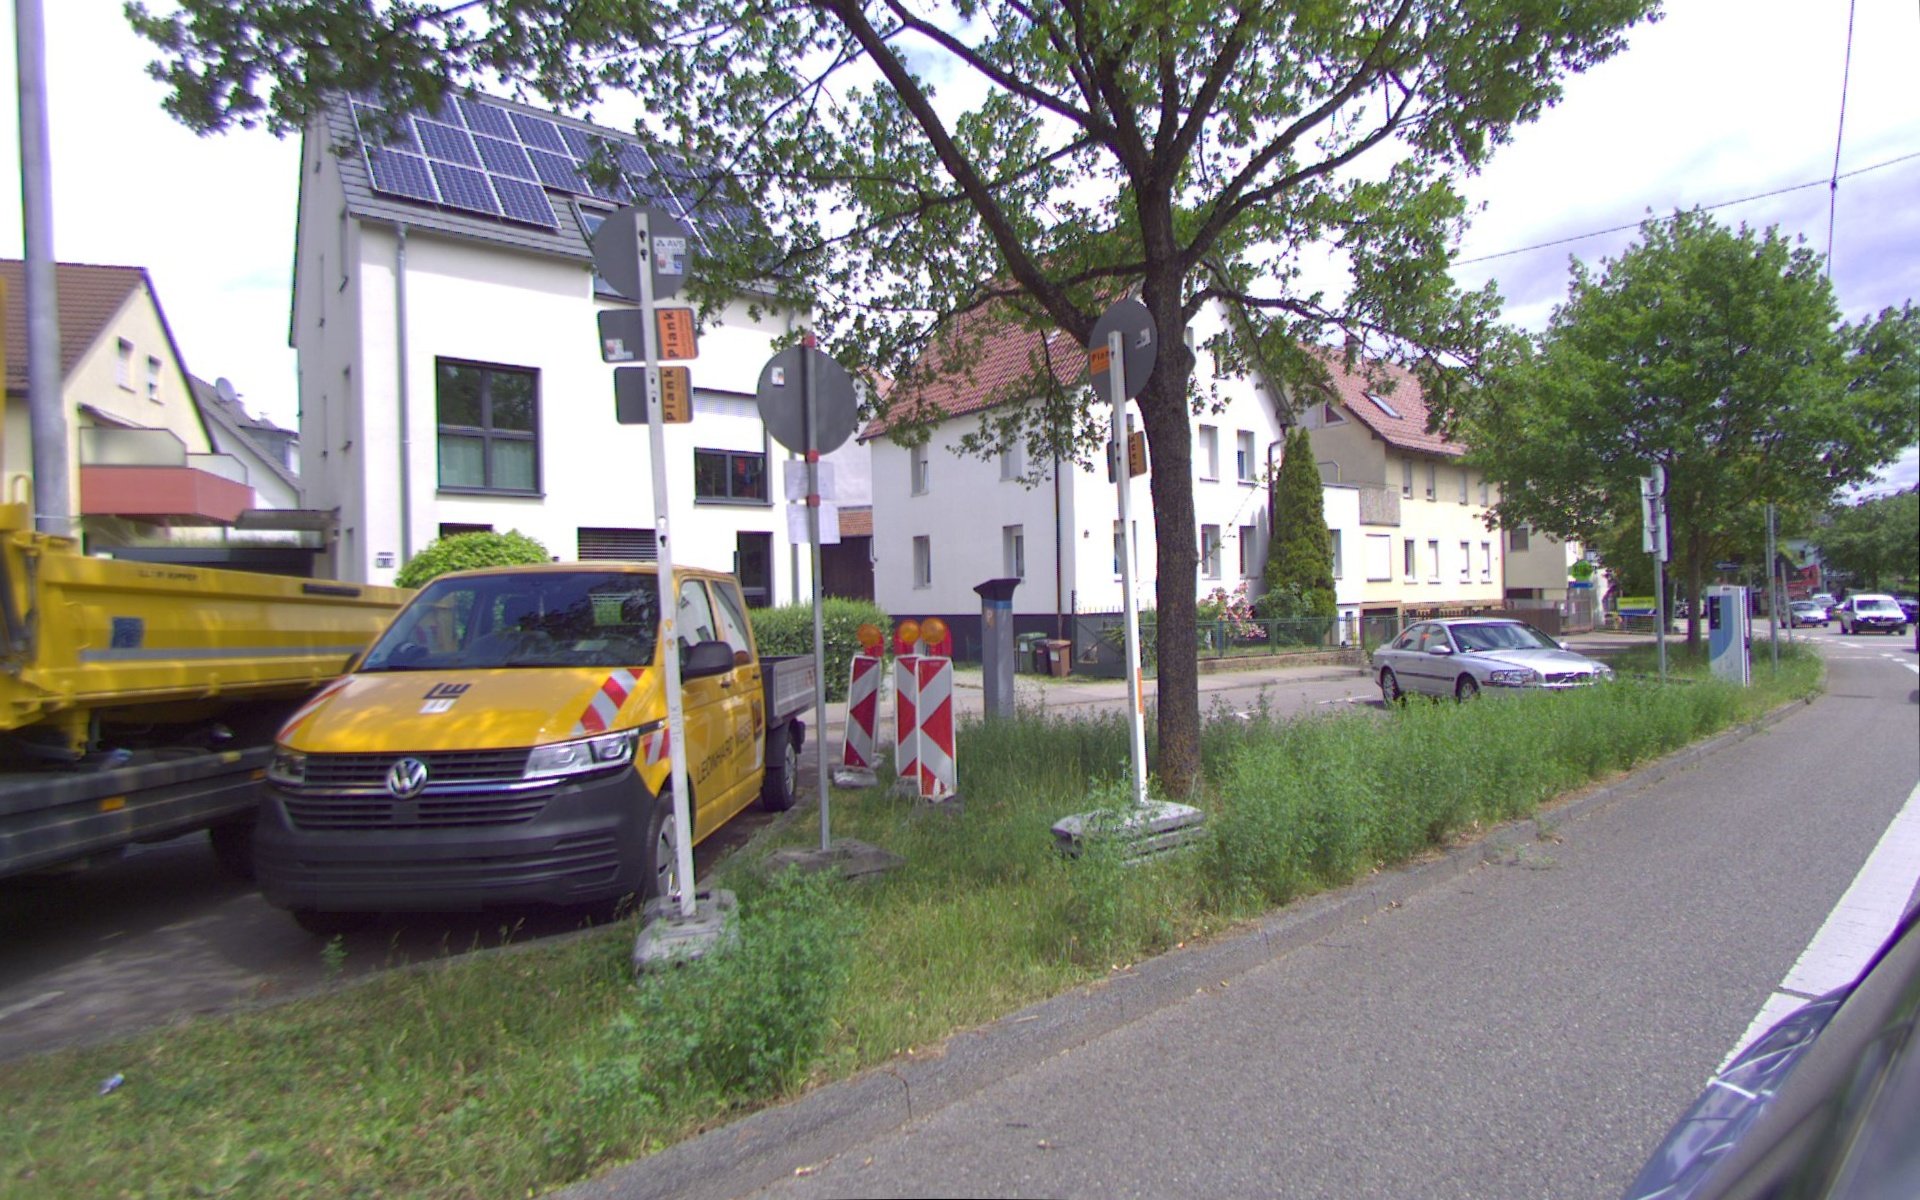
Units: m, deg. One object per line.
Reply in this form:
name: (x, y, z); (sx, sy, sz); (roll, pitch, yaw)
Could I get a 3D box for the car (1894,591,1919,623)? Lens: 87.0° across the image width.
car: (54.603, 0.346, 57.166); (1.985, 1.751, 4.055); (-1, -1, 33)

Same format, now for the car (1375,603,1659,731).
car: (8.094, 0.875, 15.267); (1.963, 1.598, 4.305); (0, 0, 1)

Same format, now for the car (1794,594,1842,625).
car: (49.383, 0.543, 58.204); (1.992, 1.683, 3.940); (-2, -1, 42)

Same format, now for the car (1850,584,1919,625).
car: (41.734, 0.206, 45.626); (1.988, 1.751, 4.050); (-2, -1, 36)

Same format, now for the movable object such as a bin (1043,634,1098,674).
movable object such as a bin: (2.770, 1.343, 25.506); (0.808, 0.953, 1.121); (0, -1, -40)

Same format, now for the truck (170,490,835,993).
truck: (-2.258, 0.689, 7.158); (1.962, 2.040, 5.954); (-1, -2, 0)

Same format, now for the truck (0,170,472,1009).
truck: (-4.956, 0.029, 4.998); (2.296, 3.241, 6.633); (0, -3, -5)

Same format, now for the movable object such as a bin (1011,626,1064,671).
movable object such as a bin: (2.020, 1.252, 26.371); (0.808, 1.133, 1.121); (0, -1, -40)
